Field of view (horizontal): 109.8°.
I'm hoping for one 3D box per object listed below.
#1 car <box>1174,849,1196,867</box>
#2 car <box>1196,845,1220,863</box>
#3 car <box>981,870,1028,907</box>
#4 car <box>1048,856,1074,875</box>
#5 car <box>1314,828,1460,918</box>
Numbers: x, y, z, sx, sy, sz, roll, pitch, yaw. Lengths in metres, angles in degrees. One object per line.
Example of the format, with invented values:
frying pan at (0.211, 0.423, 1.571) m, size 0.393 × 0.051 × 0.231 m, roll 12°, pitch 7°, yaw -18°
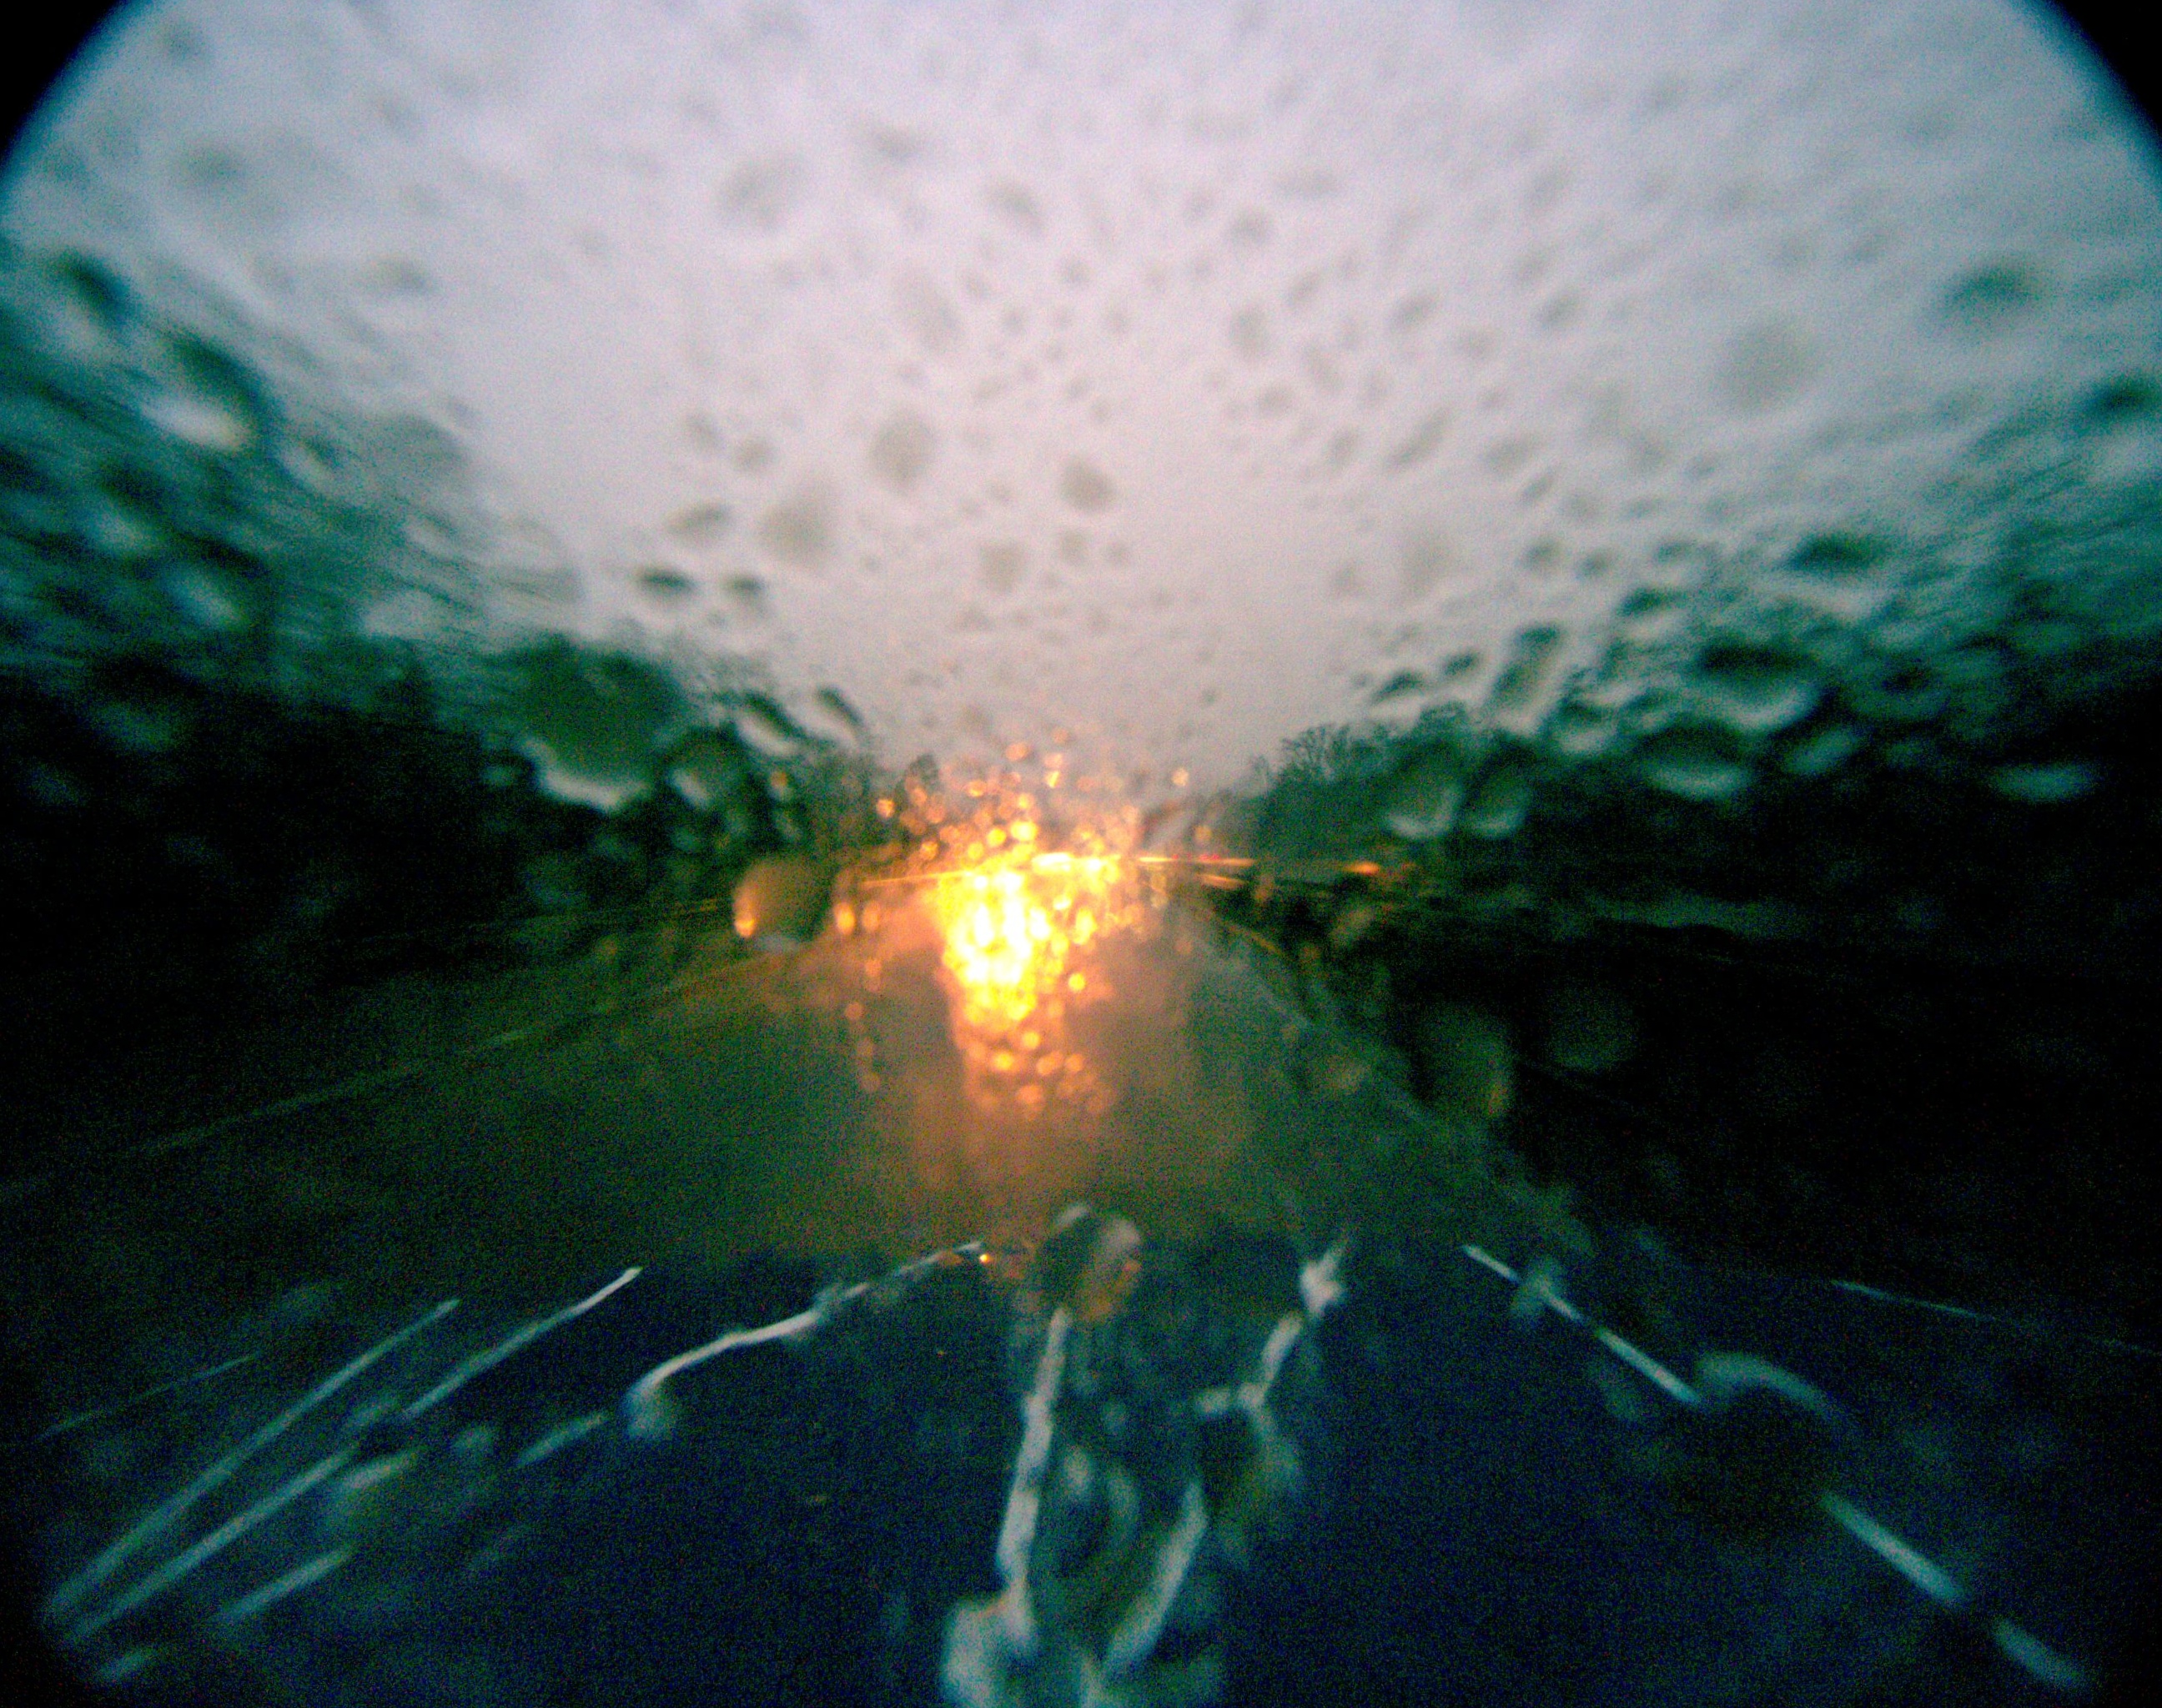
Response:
car at (9.096, 0.321, 66.590) m, size 1.547 × 1.388 × 4.123 m, roll -2°, pitch 1°, yaw 4°
car at (12.922, 0.016, 77.746) m, size 1.724 × 1.737 × 4.425 m, roll -2°, pitch 1°, yaw 1°
car at (-3.148, 1.413, 31.760) m, size 1.603 × 1.358 × 3.305 m, roll 0°, pitch 1°, yaw 1°
car at (-1.614, 0.912, 62.177) m, size 1.741 × 1.441 × 4.000 m, roll -2°, pitch 1°, yaw 3°
car at (7.566, 0.390, 19.367) m, size 1.747 × 1.945 × 4.817 m, roll -2°, pitch 1°, yaw 0°
